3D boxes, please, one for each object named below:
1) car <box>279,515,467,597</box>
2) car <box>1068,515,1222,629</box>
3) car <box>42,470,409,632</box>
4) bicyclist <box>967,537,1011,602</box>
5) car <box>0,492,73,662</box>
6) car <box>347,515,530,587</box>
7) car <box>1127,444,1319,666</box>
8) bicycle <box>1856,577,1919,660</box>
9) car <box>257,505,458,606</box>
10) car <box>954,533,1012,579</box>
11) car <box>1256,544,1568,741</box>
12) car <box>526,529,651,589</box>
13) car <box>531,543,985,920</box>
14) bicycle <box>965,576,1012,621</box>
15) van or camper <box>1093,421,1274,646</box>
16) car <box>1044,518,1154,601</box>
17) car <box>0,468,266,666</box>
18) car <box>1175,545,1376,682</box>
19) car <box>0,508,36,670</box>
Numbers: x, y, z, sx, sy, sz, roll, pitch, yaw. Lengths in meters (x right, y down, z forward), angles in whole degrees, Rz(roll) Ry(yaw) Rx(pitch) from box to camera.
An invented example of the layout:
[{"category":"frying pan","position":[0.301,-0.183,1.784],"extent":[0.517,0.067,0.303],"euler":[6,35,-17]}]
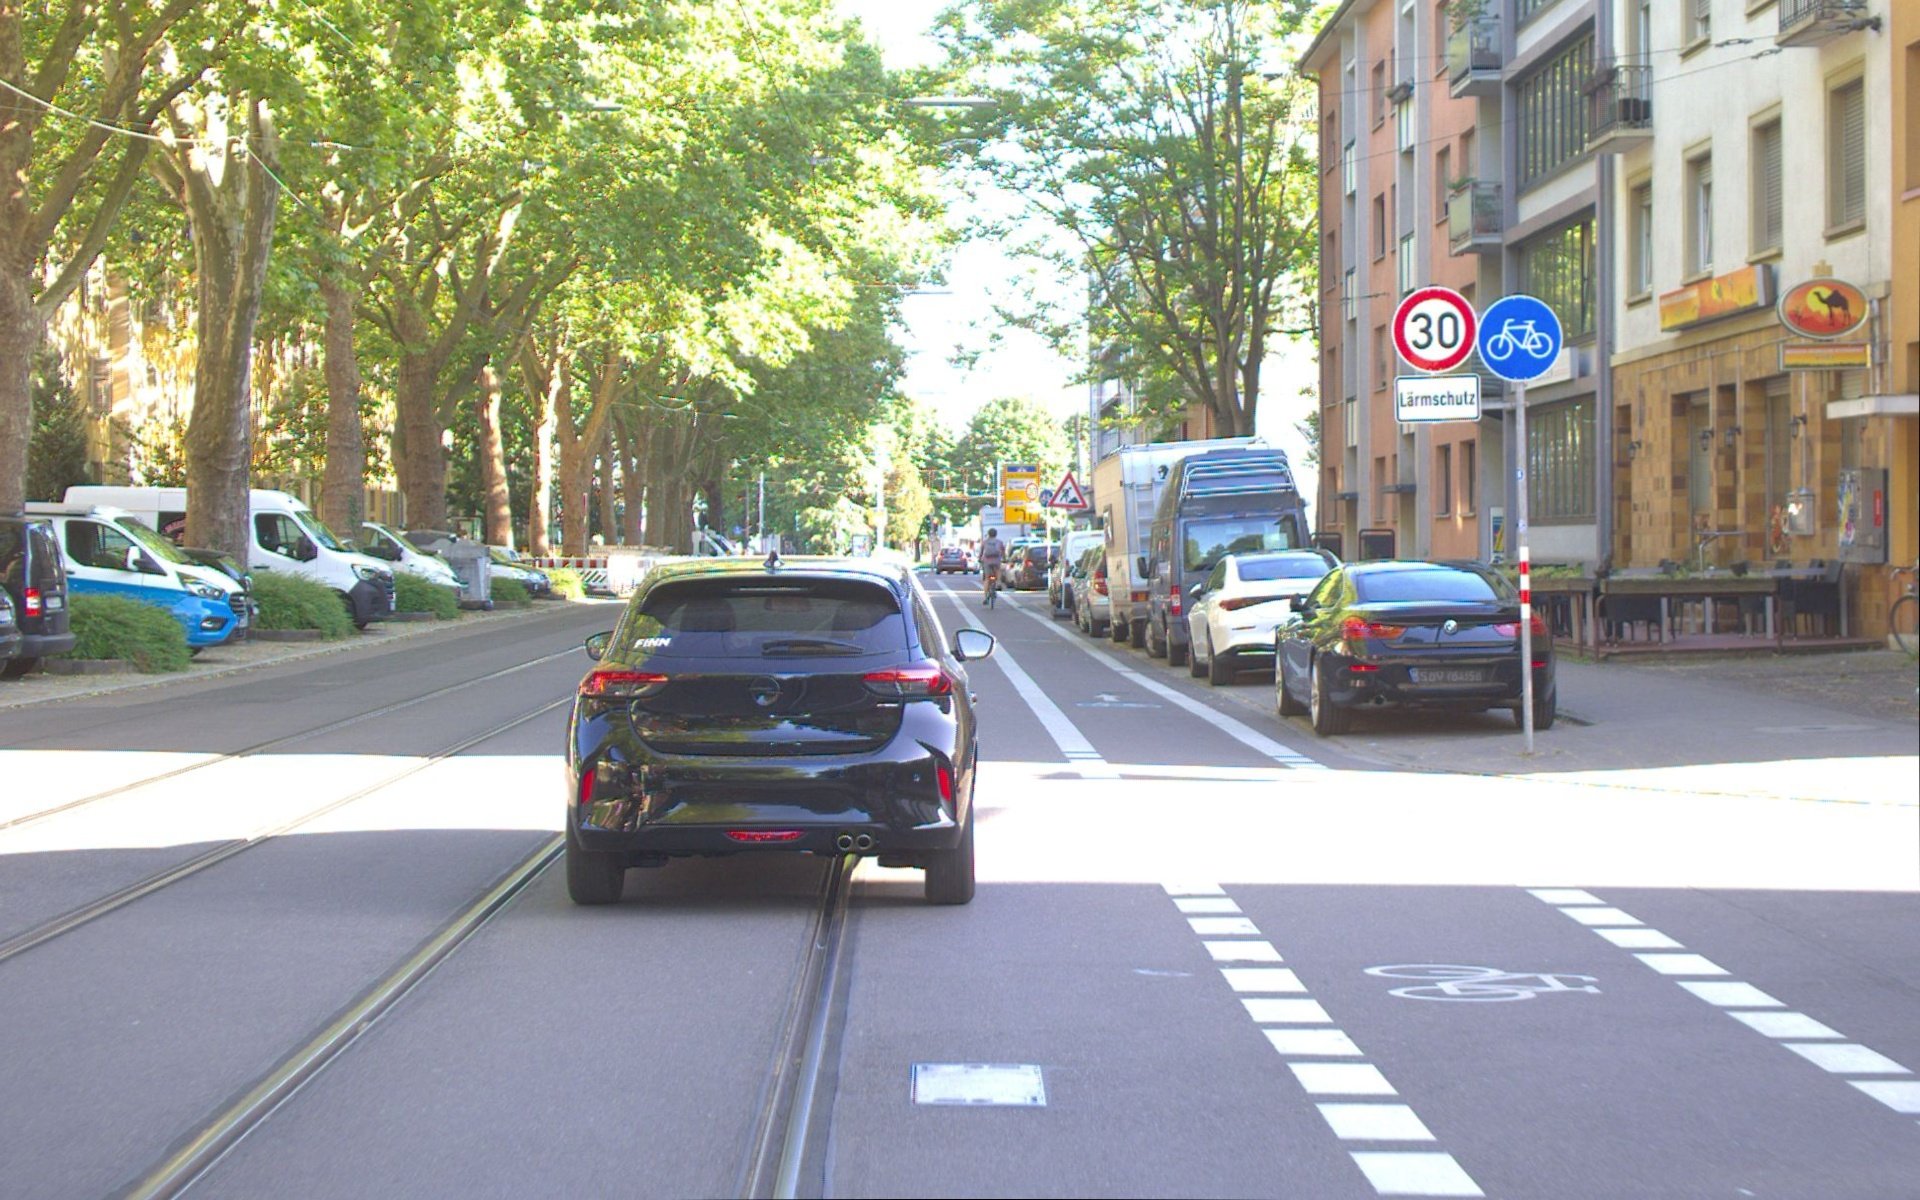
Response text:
[{"category":"car","position":[-13.420,-1.008,78.680],"extent":[4.175,1.787,2.001],"euler":[1,1,-9]},{"category":"car","position":[3.142,-0.510,59.546],"extent":[2.254,1.834,5.531],"euler":[-1,1,-1]},{"category":"car","position":[-12.304,-0.830,57.820],"extent":[5.639,2.584,2.196],"euler":[1,1,3]},{"category":"bicyclist","position":[0.668,-0.724,80.452],"extent":[0.958,1.494,1.094],"euler":[1,1,-2]},{"category":"car","position":[-12.268,-0.150,38.414],"extent":[4.298,1.834,1.783],"euler":[-3,1,-8]},{"category":"car","position":[-12.747,-1.196,84.090],"extent":[4.353,1.659,2.001],"euler":[1,1,-9]},{"category":"car","position":[3.442,-0.628,45.779],"extent":[2.085,2.762,4.698],"euler":[-1,1,-1]},{"category":"bicycle","position":[9.429,0.176,34.403],"extent":[0.409,0.786,1.791],"euler":[1,1,-1]},{"category":"car","position":[-12.410,-0.919,70.947],"extent":[3.986,2.007,2.001],"euler":[1,1,-9]},{"category":"car","position":[0.923,-1.825,141.921],"extent":[2.254,1.834,5.531],"euler":[-1,1,-1]},{"category":"car","position":[3.643,0.291,28.492],"extent":[1.884,1.429,4.530],"euler":[-2,1,-1]},{"category":"car","position":[-12.991,-1.427,120.361],"extent":[3.988,2.007,2.000],"euler":[1,1,6]},{"category":"car","position":[-0.814,0.488,15.504],"extent":[1.763,1.455,3.950],"euler":[1,1,-1]},{"category":"bicycle","position":[0.658,-0.035,80.484],"extent":[0.968,0.995,2.583],"euler":[1,1,-2]},{"category":"van or camper","position":[3.332,-1.008,52.340],"extent":[2.254,3.205,5.531],"euler":[-1,1,-1]},{"category":"car","position":[3.220,-0.957,80.741],"extent":[2.254,1.834,5.531],"euler":[-1,1,-1]},{"category":"car","position":[-11.903,-0.383,45.110],"extent":[5.036,2.366,2.081],"euler":[-3,1,0]},{"category":"car","position":[3.484,0.147,38.586],"extent":[1.803,1.429,4.000],"euler":[-1,0,-1]},{"category":"car","position":[-12.070,-0.001,36.088],"extent":[4.298,1.669,1.783],"euler":[-3,1,-8]}]
